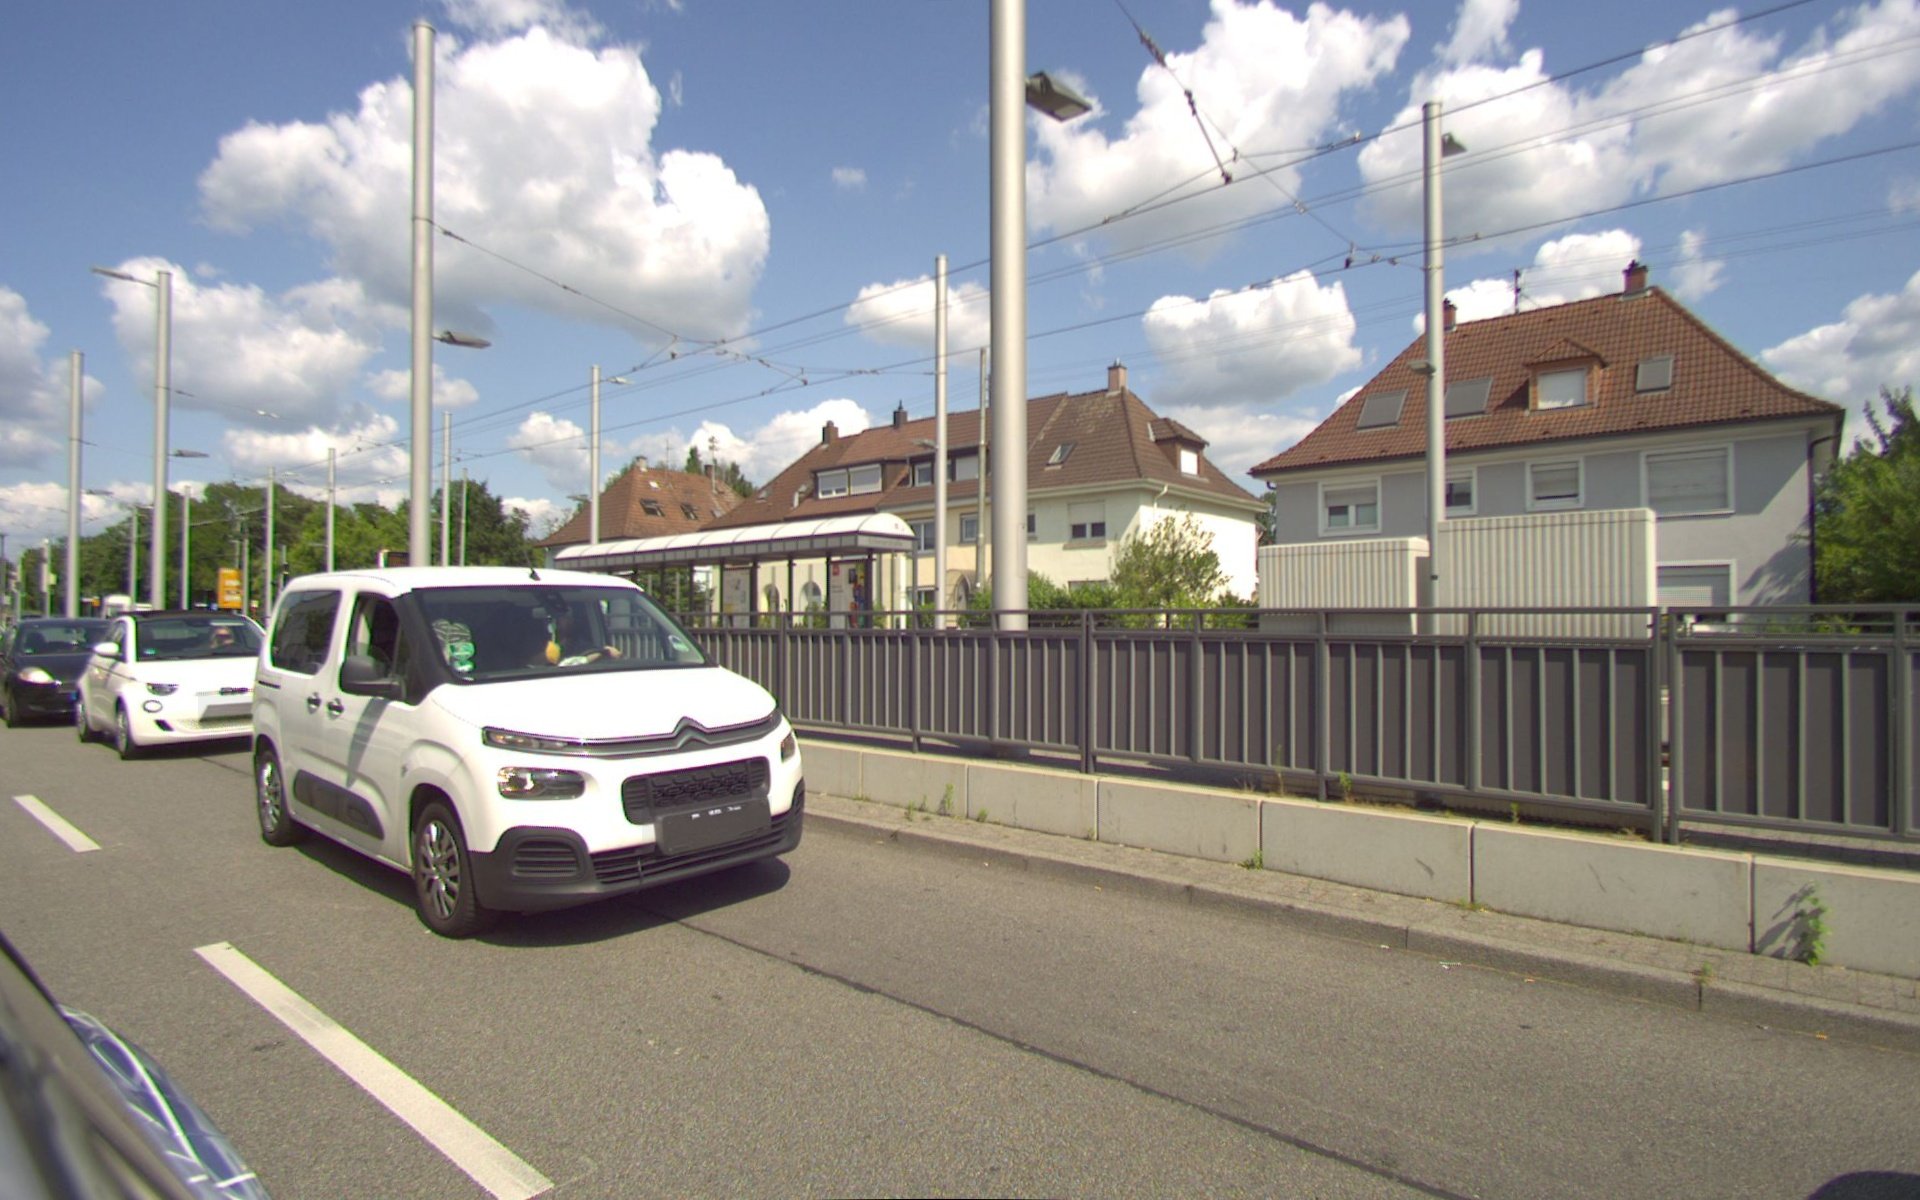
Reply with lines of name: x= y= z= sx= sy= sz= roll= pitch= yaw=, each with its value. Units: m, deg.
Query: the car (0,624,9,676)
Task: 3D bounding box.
car: x=-27.490 y=1.358 z=27.713 sx=4.497 sy=1.368 sz=1.676 roll=-1 pitch=0 yaw=41

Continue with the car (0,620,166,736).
car: x=-13.109 y=1.040 z=14.793 sx=3.555 sy=1.433 sz=1.659 roll=-1 pitch=0 yaw=40

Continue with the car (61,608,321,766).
car: x=-8.901 y=0.887 z=11.633 sx=3.390 sy=1.515 sz=1.659 roll=-1 pitch=0 yaw=40

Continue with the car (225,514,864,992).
car: x=-2.700 y=0.596 z=5.984 sx=4.328 sy=1.829 sz=1.776 roll=-1 pitch=0 yaw=42
